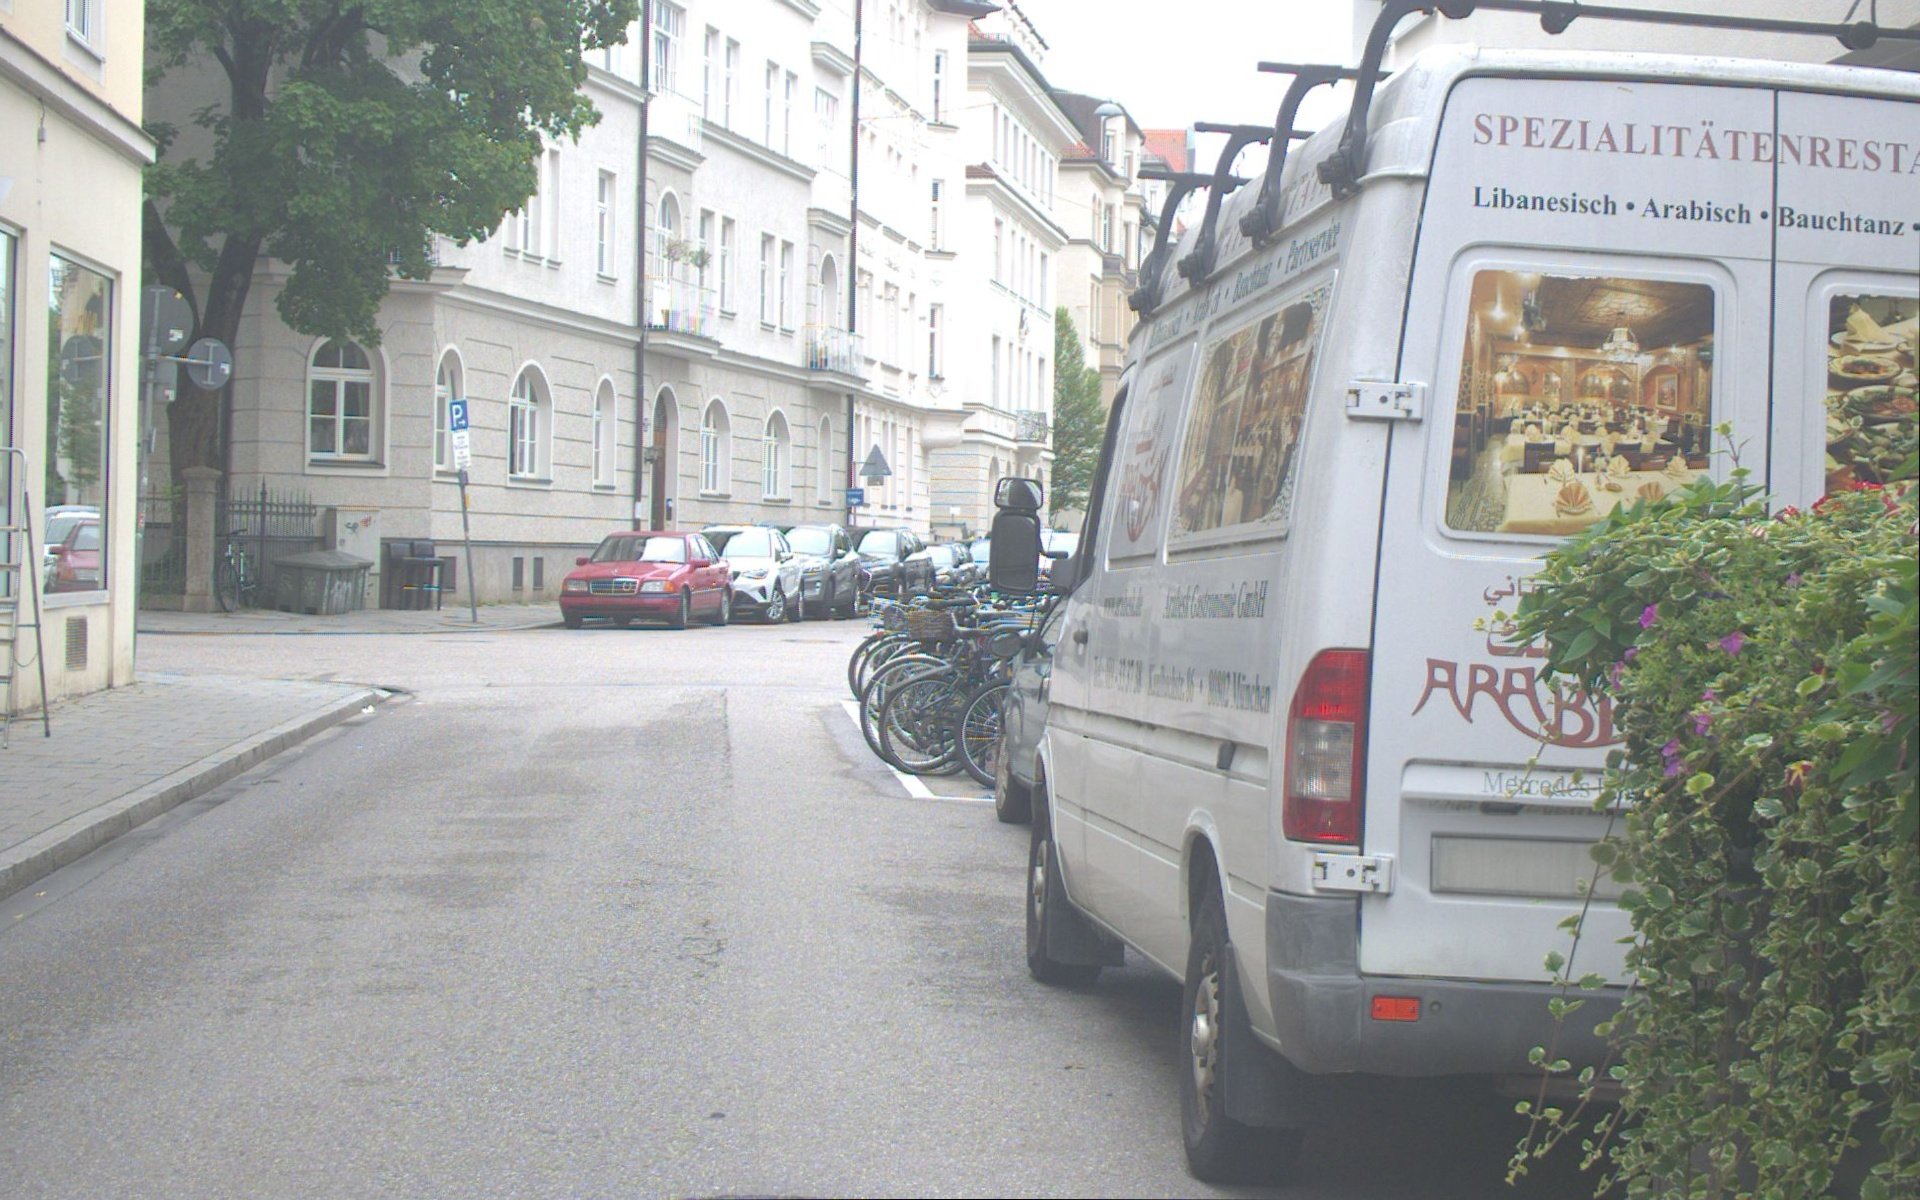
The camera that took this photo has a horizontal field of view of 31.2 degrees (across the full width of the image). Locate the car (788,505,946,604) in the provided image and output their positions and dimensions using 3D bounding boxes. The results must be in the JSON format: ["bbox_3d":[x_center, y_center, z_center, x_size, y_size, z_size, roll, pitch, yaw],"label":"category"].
[{"bbox_3d":[-1.696,-0.857,64.434,1.994,1.732,4.520,2,1,11],"label":"car"}]

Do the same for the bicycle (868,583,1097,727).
[{"bbox_3d":[0.175,0.434,27.258,1.740,1.076,0.452,1,2,-7],"label":"bicycle"}]

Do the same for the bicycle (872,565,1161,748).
[{"bbox_3d":[0.369,0.372,23.009,1.873,1.200,0.580,0,1,-6],"label":"bicycle"}]

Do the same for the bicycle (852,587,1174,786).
[{"bbox_3d":[0.316,0.525,21.070,1.873,1.104,0.488,3,2,-6],"label":"bicycle"}]

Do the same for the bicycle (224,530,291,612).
[{"bbox_3d":[-9.756,-0.411,47.768,0.493,1.049,1.827,2,3,1],"label":"bicycle"}]

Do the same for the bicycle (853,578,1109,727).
[{"bbox_3d":[0.155,0.396,26.014,1.873,1.076,0.408,1,2,-7],"label":"bicycle"}]

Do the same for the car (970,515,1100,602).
[{"bbox_3d":[1.497,-0.832,66.997,1.958,1.602,4.307,1,1,9],"label":"car"}]

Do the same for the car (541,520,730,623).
[{"bbox_3d":[-4.600,-0.427,49.272,1.731,1.373,4.225,2,1,8],"label":"car"}]

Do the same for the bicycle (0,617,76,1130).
[{"bbox_3d":[-2.823,0.687,8.204,0.932,1.253,2.414,0,1,-3],"label":"bicycle"}]

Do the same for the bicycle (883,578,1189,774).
[{"bbox_3d":[0.485,0.489,22.285,1.873,1.153,0.565,3,2,-6],"label":"bicycle"}]

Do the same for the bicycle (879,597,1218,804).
[{"bbox_3d":[0.508,0.582,20.097,1.873,1.076,0.488,3,2,-6],"label":"bicycle"}]

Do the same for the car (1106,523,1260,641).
[{"bbox_3d":[3.468,-0.292,52.754,1.821,1.630,4.287,4,1,10],"label":"car"}]

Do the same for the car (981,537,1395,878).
[{"bbox_3d":[1.023,0.445,16.979,1.580,1.459,3.552,1,1,-3],"label":"car"}]

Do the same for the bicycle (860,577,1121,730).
[{"bbox_3d":[0.222,0.396,25.578,1.873,1.076,0.402,1,2,-7],"label":"bicycle"}]

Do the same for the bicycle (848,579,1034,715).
[{"bbox_3d":[-0.160,0.388,28.475,1.450,1.066,0.463,2,1,-11],"label":"bicycle"}]

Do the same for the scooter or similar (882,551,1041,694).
[{"bbox_3d":[0.008,0.195,30.291,1.352,1.206,0.417,1,1,-2],"label":"scooter or similar"}]

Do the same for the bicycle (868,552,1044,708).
[{"bbox_3d":[-0.041,0.257,29.490,1.456,1.281,0.445,2,1,-2],"label":"bicycle"}]

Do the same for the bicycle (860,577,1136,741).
[{"bbox_3d":[0.260,0.410,24.177,1.873,1.091,0.440,1,2,-7],"label":"bicycle"}]

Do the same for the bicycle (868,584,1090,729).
[{"bbox_3d":[0.147,0.440,26.842,1.674,1.076,0.336,1,2,-7],"label":"bicycle"}]

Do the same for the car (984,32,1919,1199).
[{"bbox_3d":[1.345,0.099,9.815,1.920,2.497,5.998,2,1,-5],"label":"car"}]

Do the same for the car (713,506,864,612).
[{"bbox_3d":[-2.913,-0.712,59.230,1.943,1.696,3.999,2,1,6],"label":"car"}]

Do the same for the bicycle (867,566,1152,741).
[{"bbox_3d":[0.332,0.363,23.627,1.893,1.166,0.566,1,1,-6],"label":"bicycle"}]

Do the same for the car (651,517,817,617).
[{"bbox_3d":[-3.509,-0.539,54.115,1.994,1.468,4.218,2,1,4],"label":"car"}]

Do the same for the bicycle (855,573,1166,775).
[{"bbox_3d":[0.309,0.460,21.590,1.873,1.200,0.488,1,2,-6],"label":"bicycle"}]

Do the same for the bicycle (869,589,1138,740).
[{"bbox_3d":[0.308,0.467,24.885,1.873,1.048,0.564,1,0,-7],"label":"bicycle"}]

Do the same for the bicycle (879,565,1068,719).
[{"bbox_3d":[0.110,0.338,28.038,1.450,1.203,0.395,2,1,-11],"label":"bicycle"}]

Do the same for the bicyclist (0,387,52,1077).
[{"bbox_3d":[-2.852,0.327,8.581,0.926,1.715,1.100,0,1,-3],"label":"bicyclist"}]
